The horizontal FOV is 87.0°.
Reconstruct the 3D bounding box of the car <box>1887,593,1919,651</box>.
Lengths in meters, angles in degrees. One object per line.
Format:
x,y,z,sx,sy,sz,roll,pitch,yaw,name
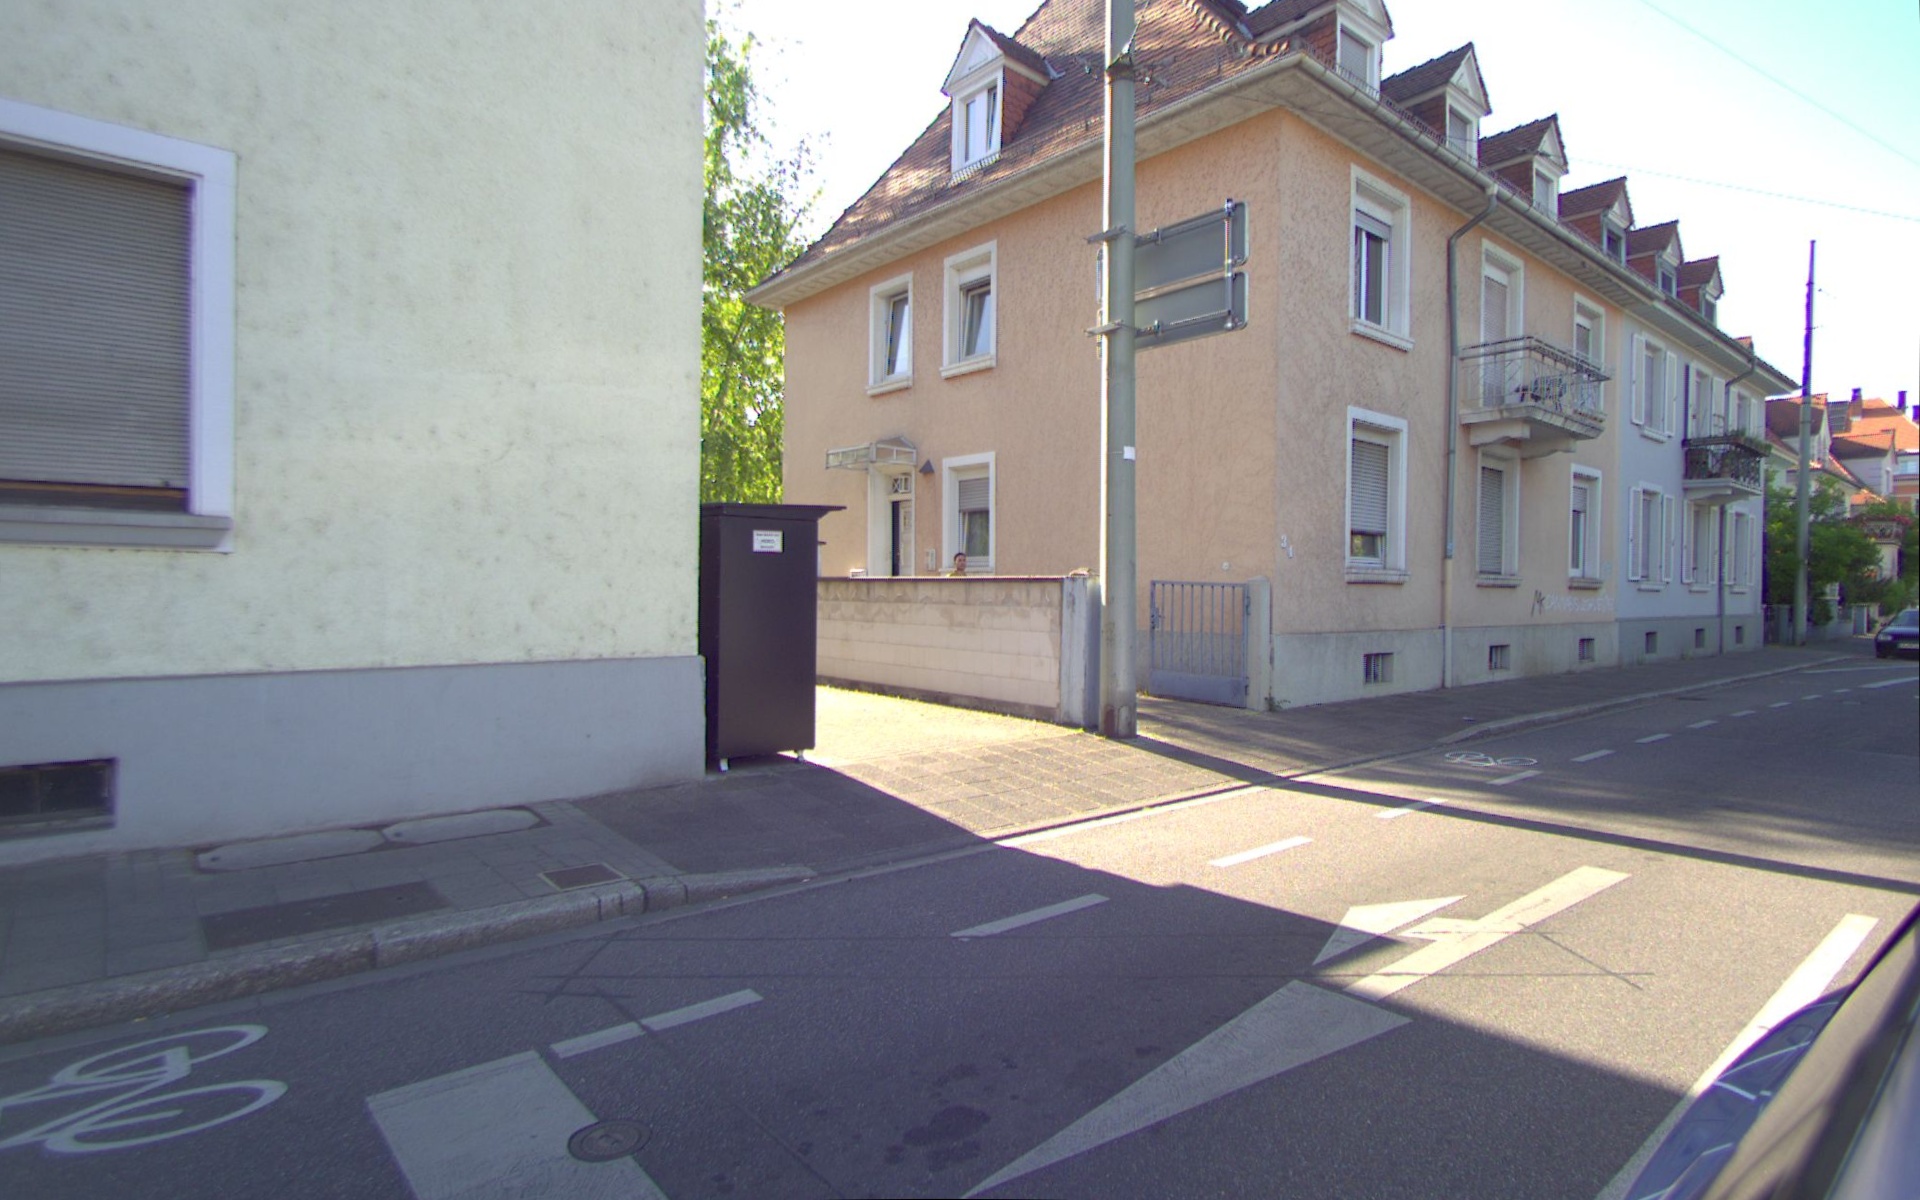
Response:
26.835,0.586,27.385,3.925,1.504,1.883,0,1,-37,car

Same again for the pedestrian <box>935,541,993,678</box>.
0.054,0.118,13.483,0.592,1.783,0.486,0,0,-39,pedestrian
